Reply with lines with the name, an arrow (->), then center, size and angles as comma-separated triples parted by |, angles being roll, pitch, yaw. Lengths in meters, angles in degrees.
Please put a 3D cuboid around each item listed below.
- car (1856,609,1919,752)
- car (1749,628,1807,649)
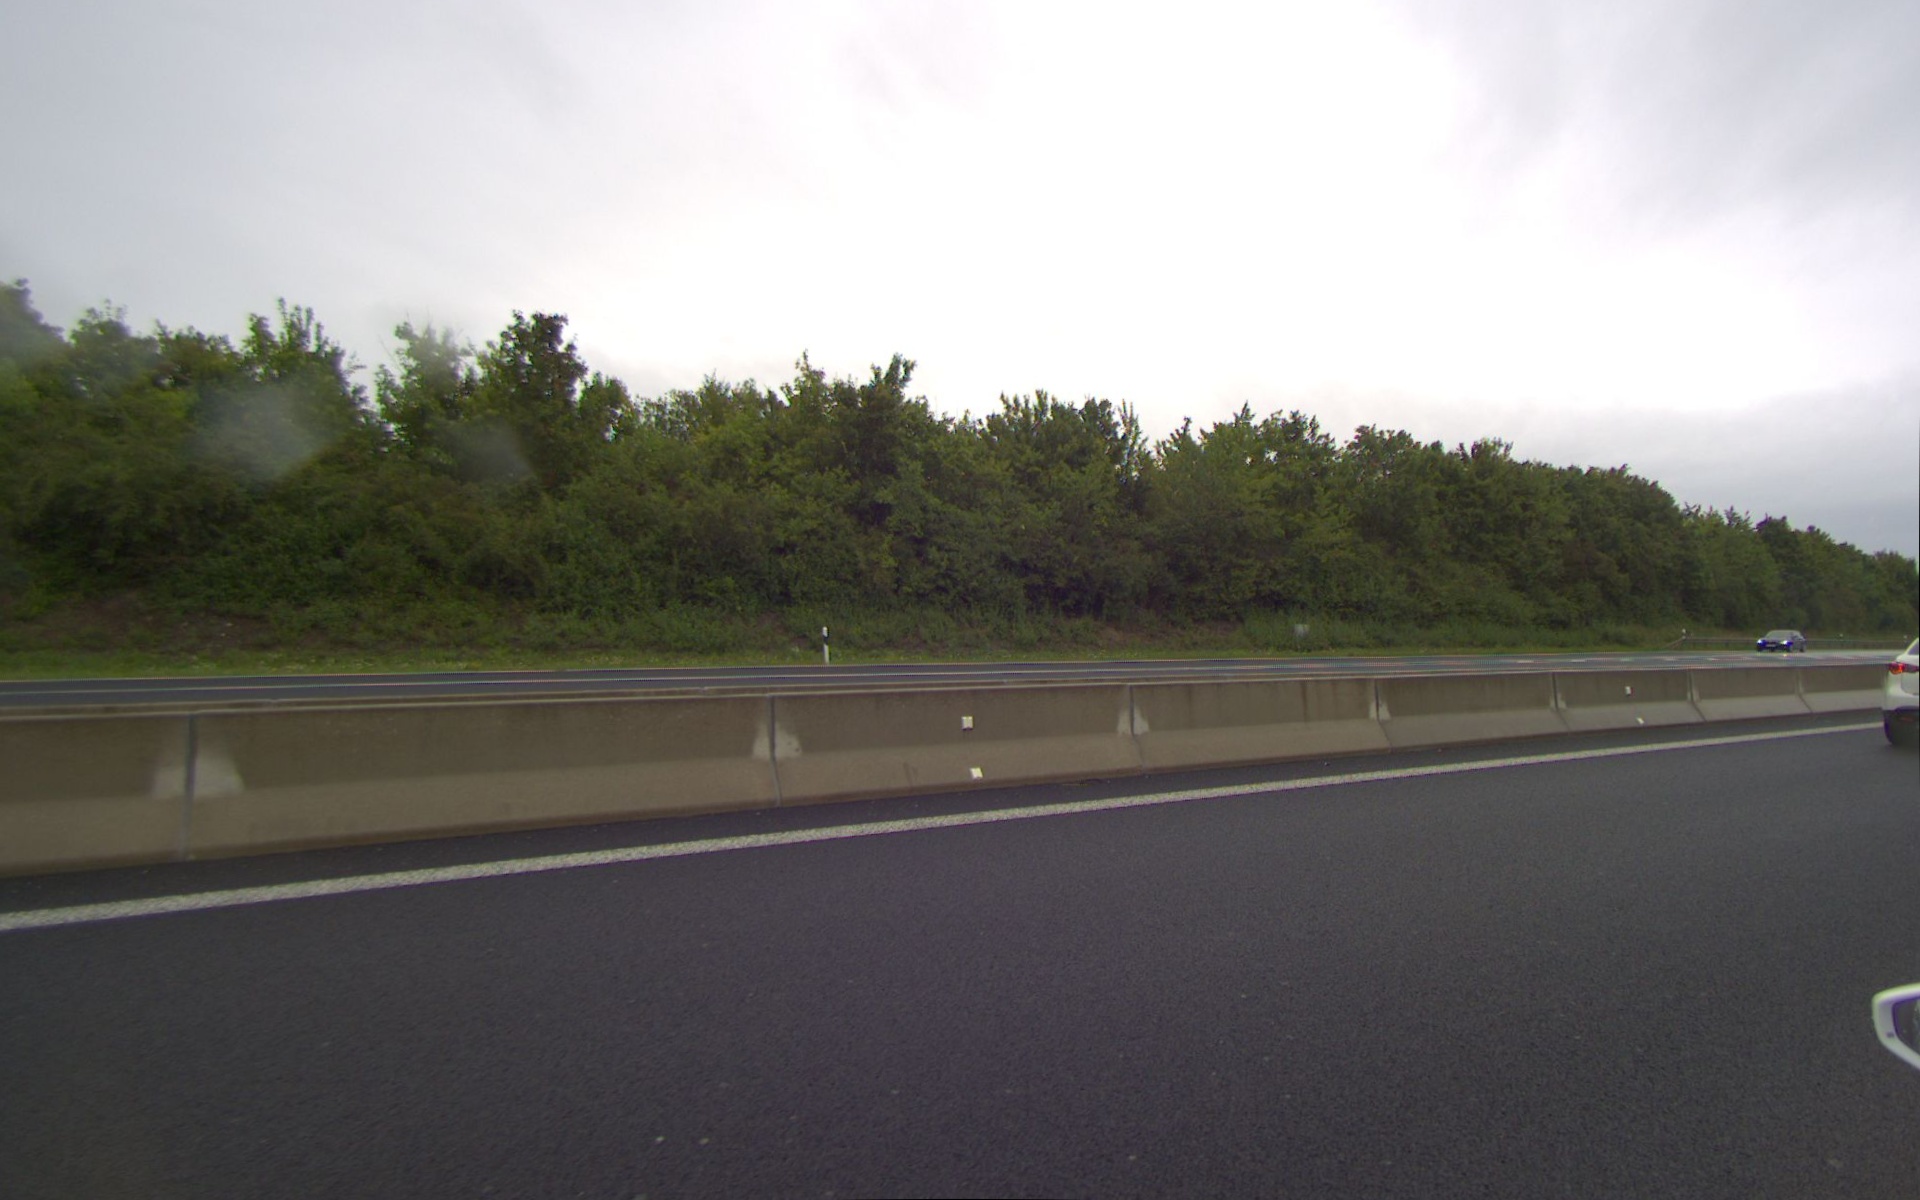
car -> 13.252, 0.987, 12.441 | 4.448, 1.661, 1.967 | 2, -1, -30
car -> 53.151, 2.498, 65.254 | 3.877, 1.311, 1.681 | 1, -1, -30
